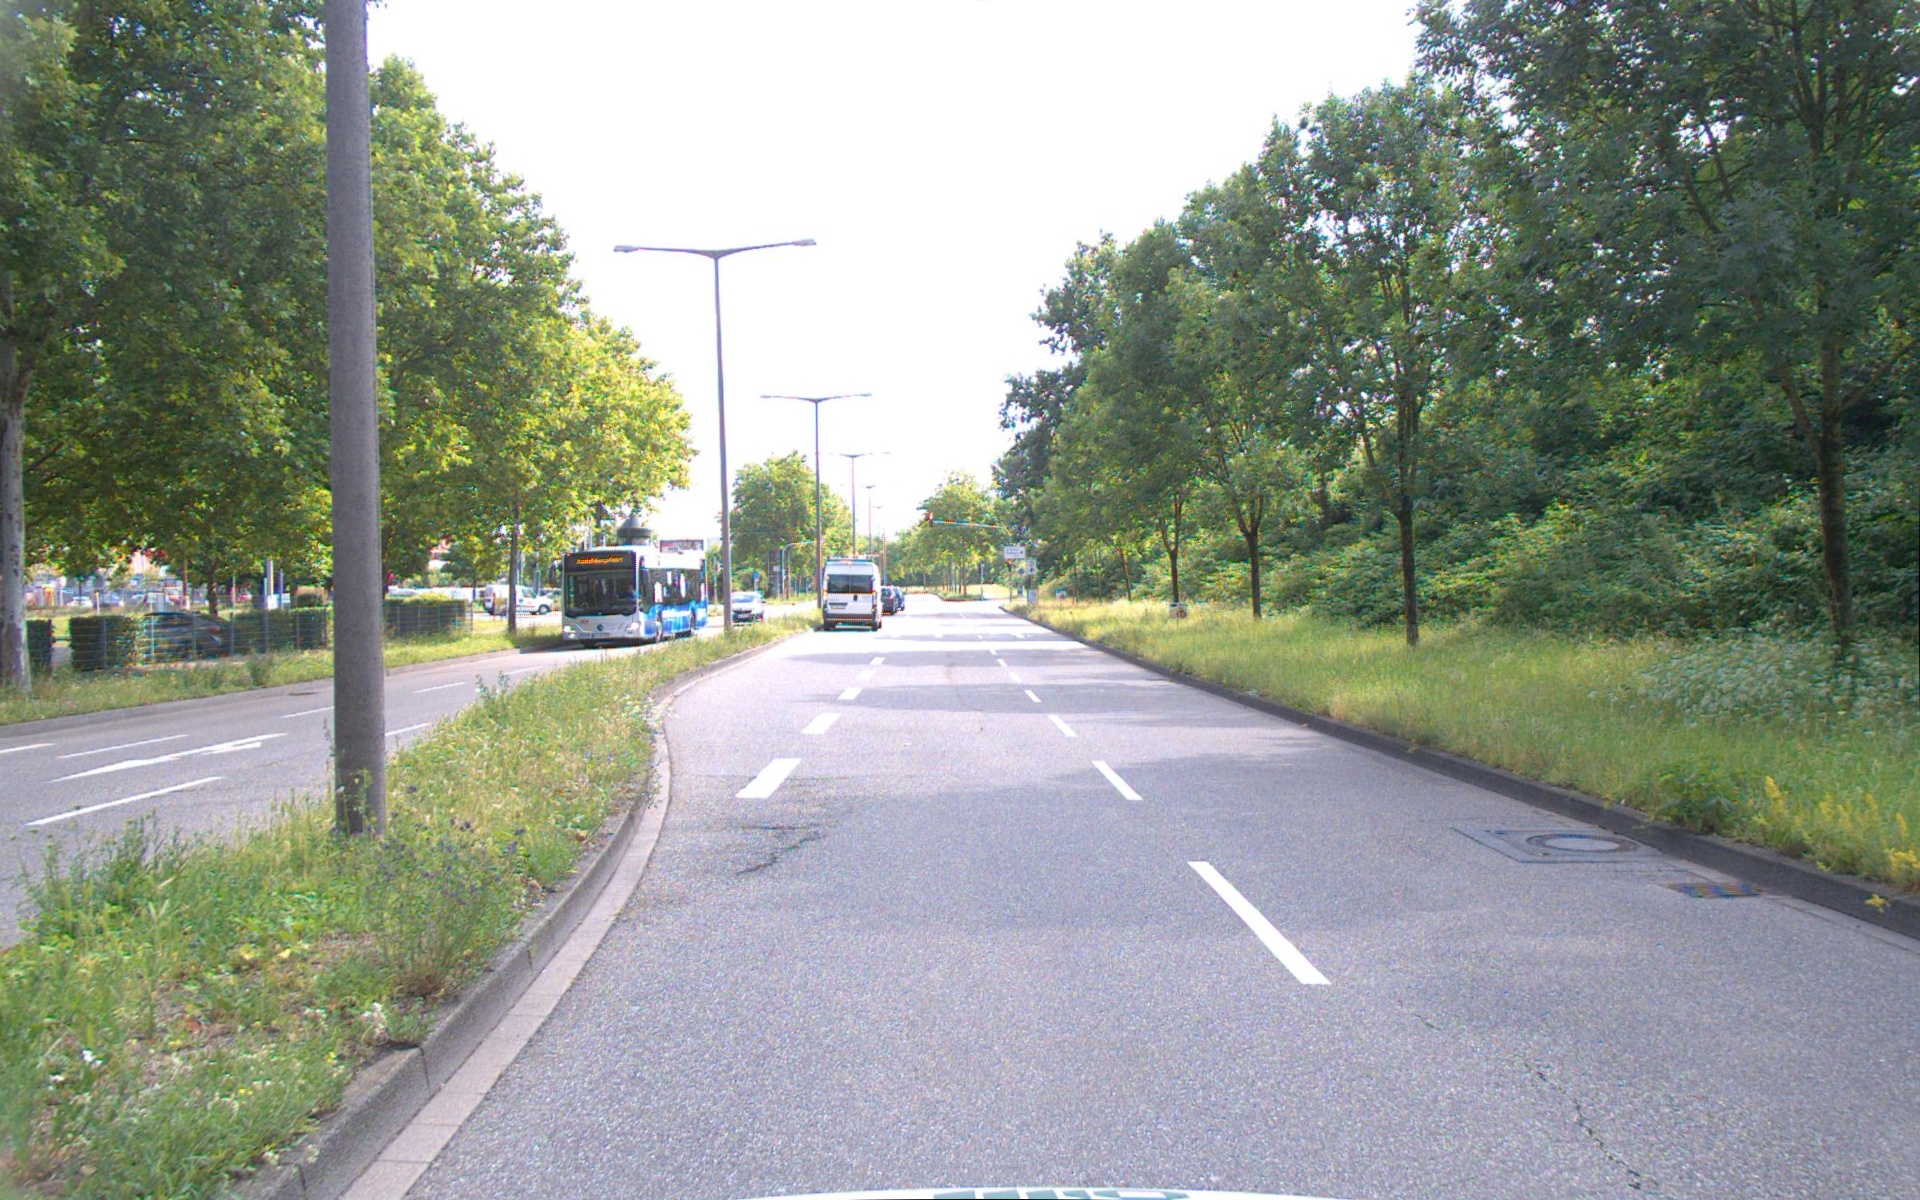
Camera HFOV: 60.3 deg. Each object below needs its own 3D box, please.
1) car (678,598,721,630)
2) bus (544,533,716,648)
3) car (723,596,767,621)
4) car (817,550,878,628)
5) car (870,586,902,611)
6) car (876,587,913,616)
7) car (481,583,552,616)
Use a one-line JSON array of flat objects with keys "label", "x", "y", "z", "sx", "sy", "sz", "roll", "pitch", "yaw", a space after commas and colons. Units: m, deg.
[{"label": "car", "x": -14.675, "y": 0.818, "z": 93.219, "sx": 1.846, "sy": 1.611, "sz": 3.879, "roll": 0, "pitch": -3, "yaw": -1}, {"label": "bus", "x": -10.821, "y": -0.295, "z": 55.816, "sx": 3.045, "sy": 3.331, "sz": 12.339, "roll": -2, "pitch": 0, "yaw": 1}, {"label": "car", "x": -9.480, "y": 0.369, "z": 73.218, "sx": 1.527, "sy": 1.059, "sz": 3.413, "roll": -1, "pitch": 0, "yaw": -1}, {"label": "car", "x": -4.142, "y": -0.479, "z": 61.750, "sx": 2.153, "sy": 2.773, "sz": 4.930, "roll": 1, "pitch": 2, "yaw": -3}, {"label": "car", "x": -4.627, "y": -0.093, "z": 102.755, "sx": 1.771, "sy": 1.496, "sz": 3.851, "roll": -1, "pitch": 0, "yaw": -6}, {"label": "car", "x": -3.597, "y": 0.086, "z": 90.439, "sx": 1.771, "sy": 1.496, "sz": 3.851, "roll": -1, "pitch": 0, "yaw": -6}, {"label": "car", "x": -28.000, "y": 0.001, "z": 104.412, "sx": 3.963, "sy": 1.870, "sz": 1.838, "roll": 3, "pitch": -4, "yaw": -41}]
